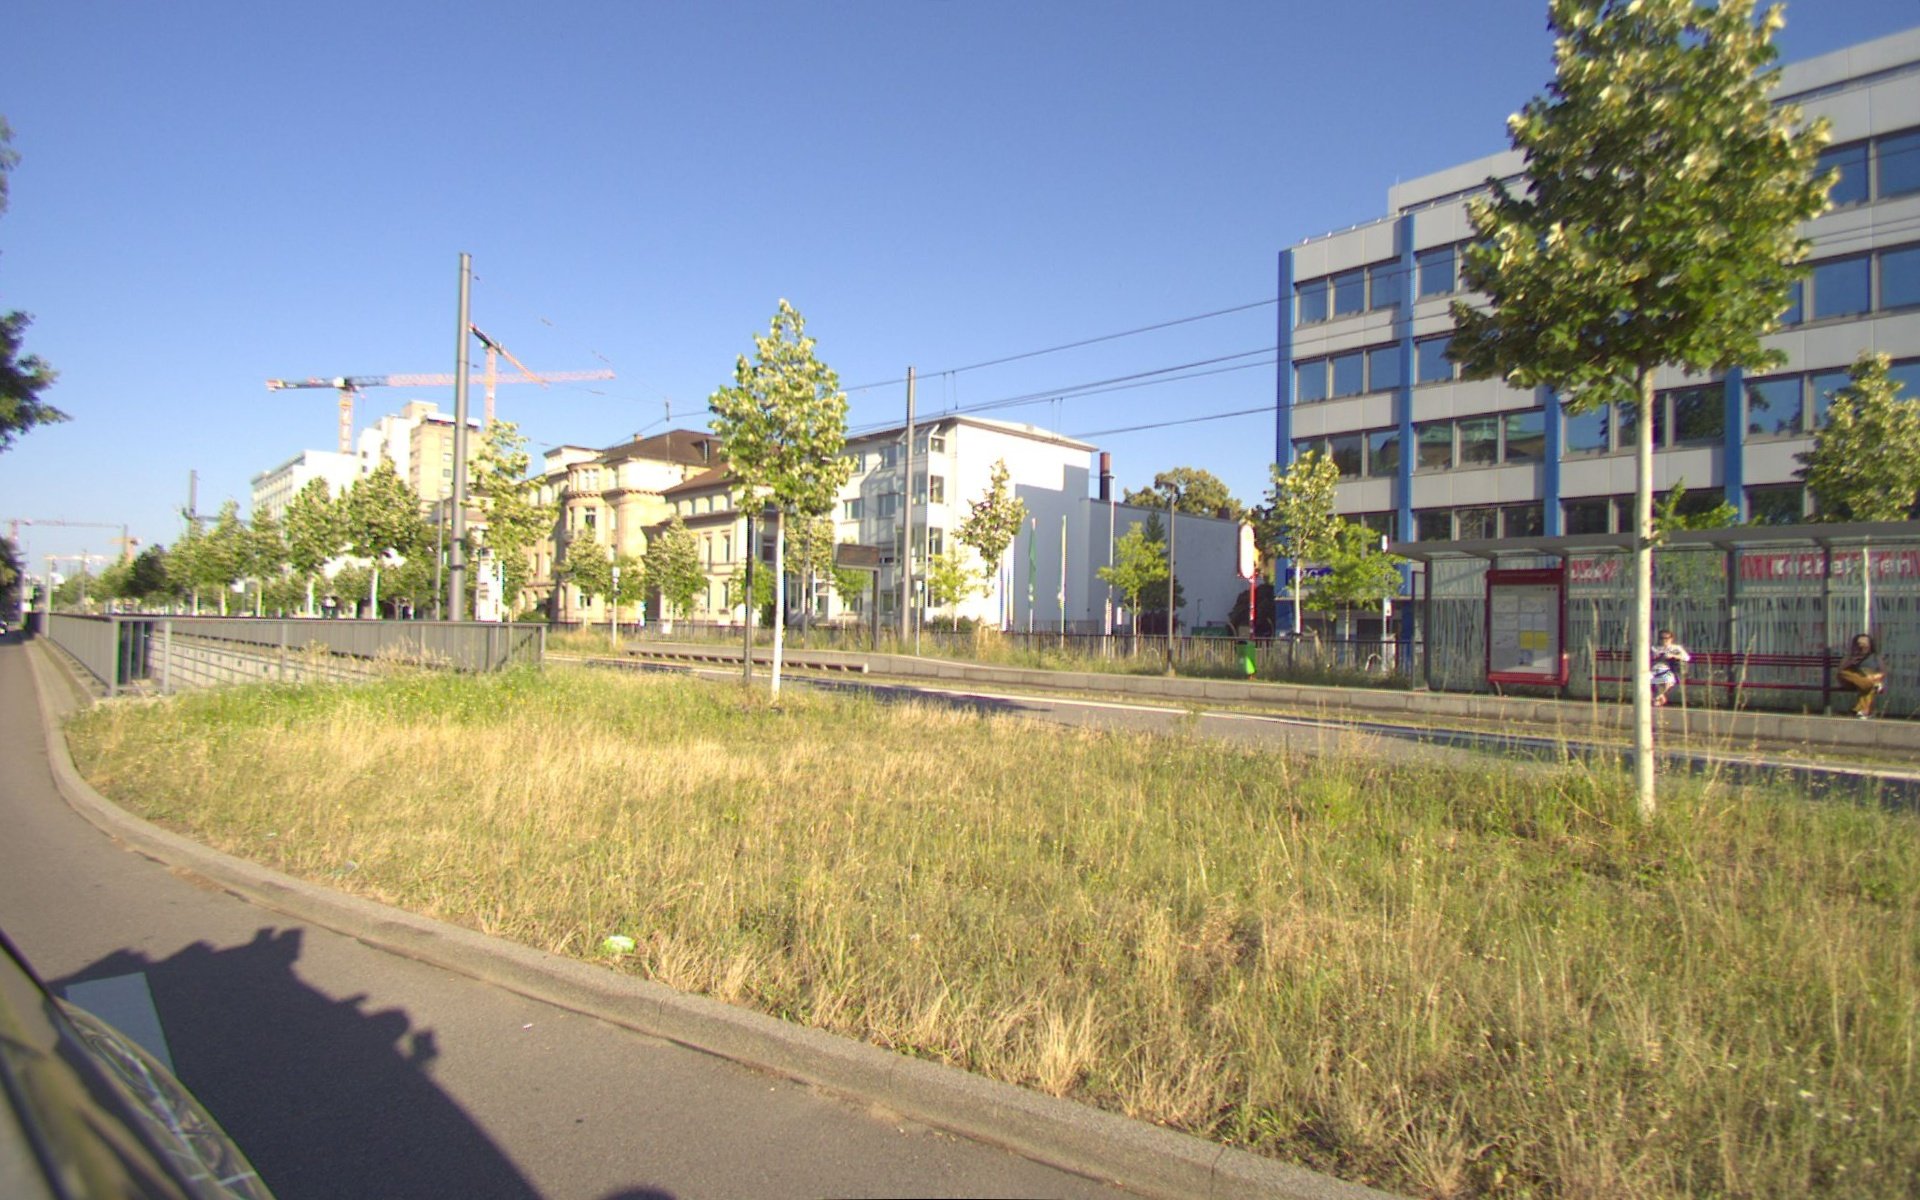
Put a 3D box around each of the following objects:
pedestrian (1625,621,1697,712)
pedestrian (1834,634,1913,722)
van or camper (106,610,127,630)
[{"bbox_3d":[11.393,1.060,16.444,0.828,1.421,0.804,3,-3,-44],"label":"pedestrian"},{"bbox_3d":[13.133,1.098,14.545,0.923,1.206,0.765,3,-3,-44],"label":"pedestrian"},{"bbox_3d":[-135.318,3.199,162.346,2.474,3.192,7.487,2,-2,-40],"label":"van or camper"}]
